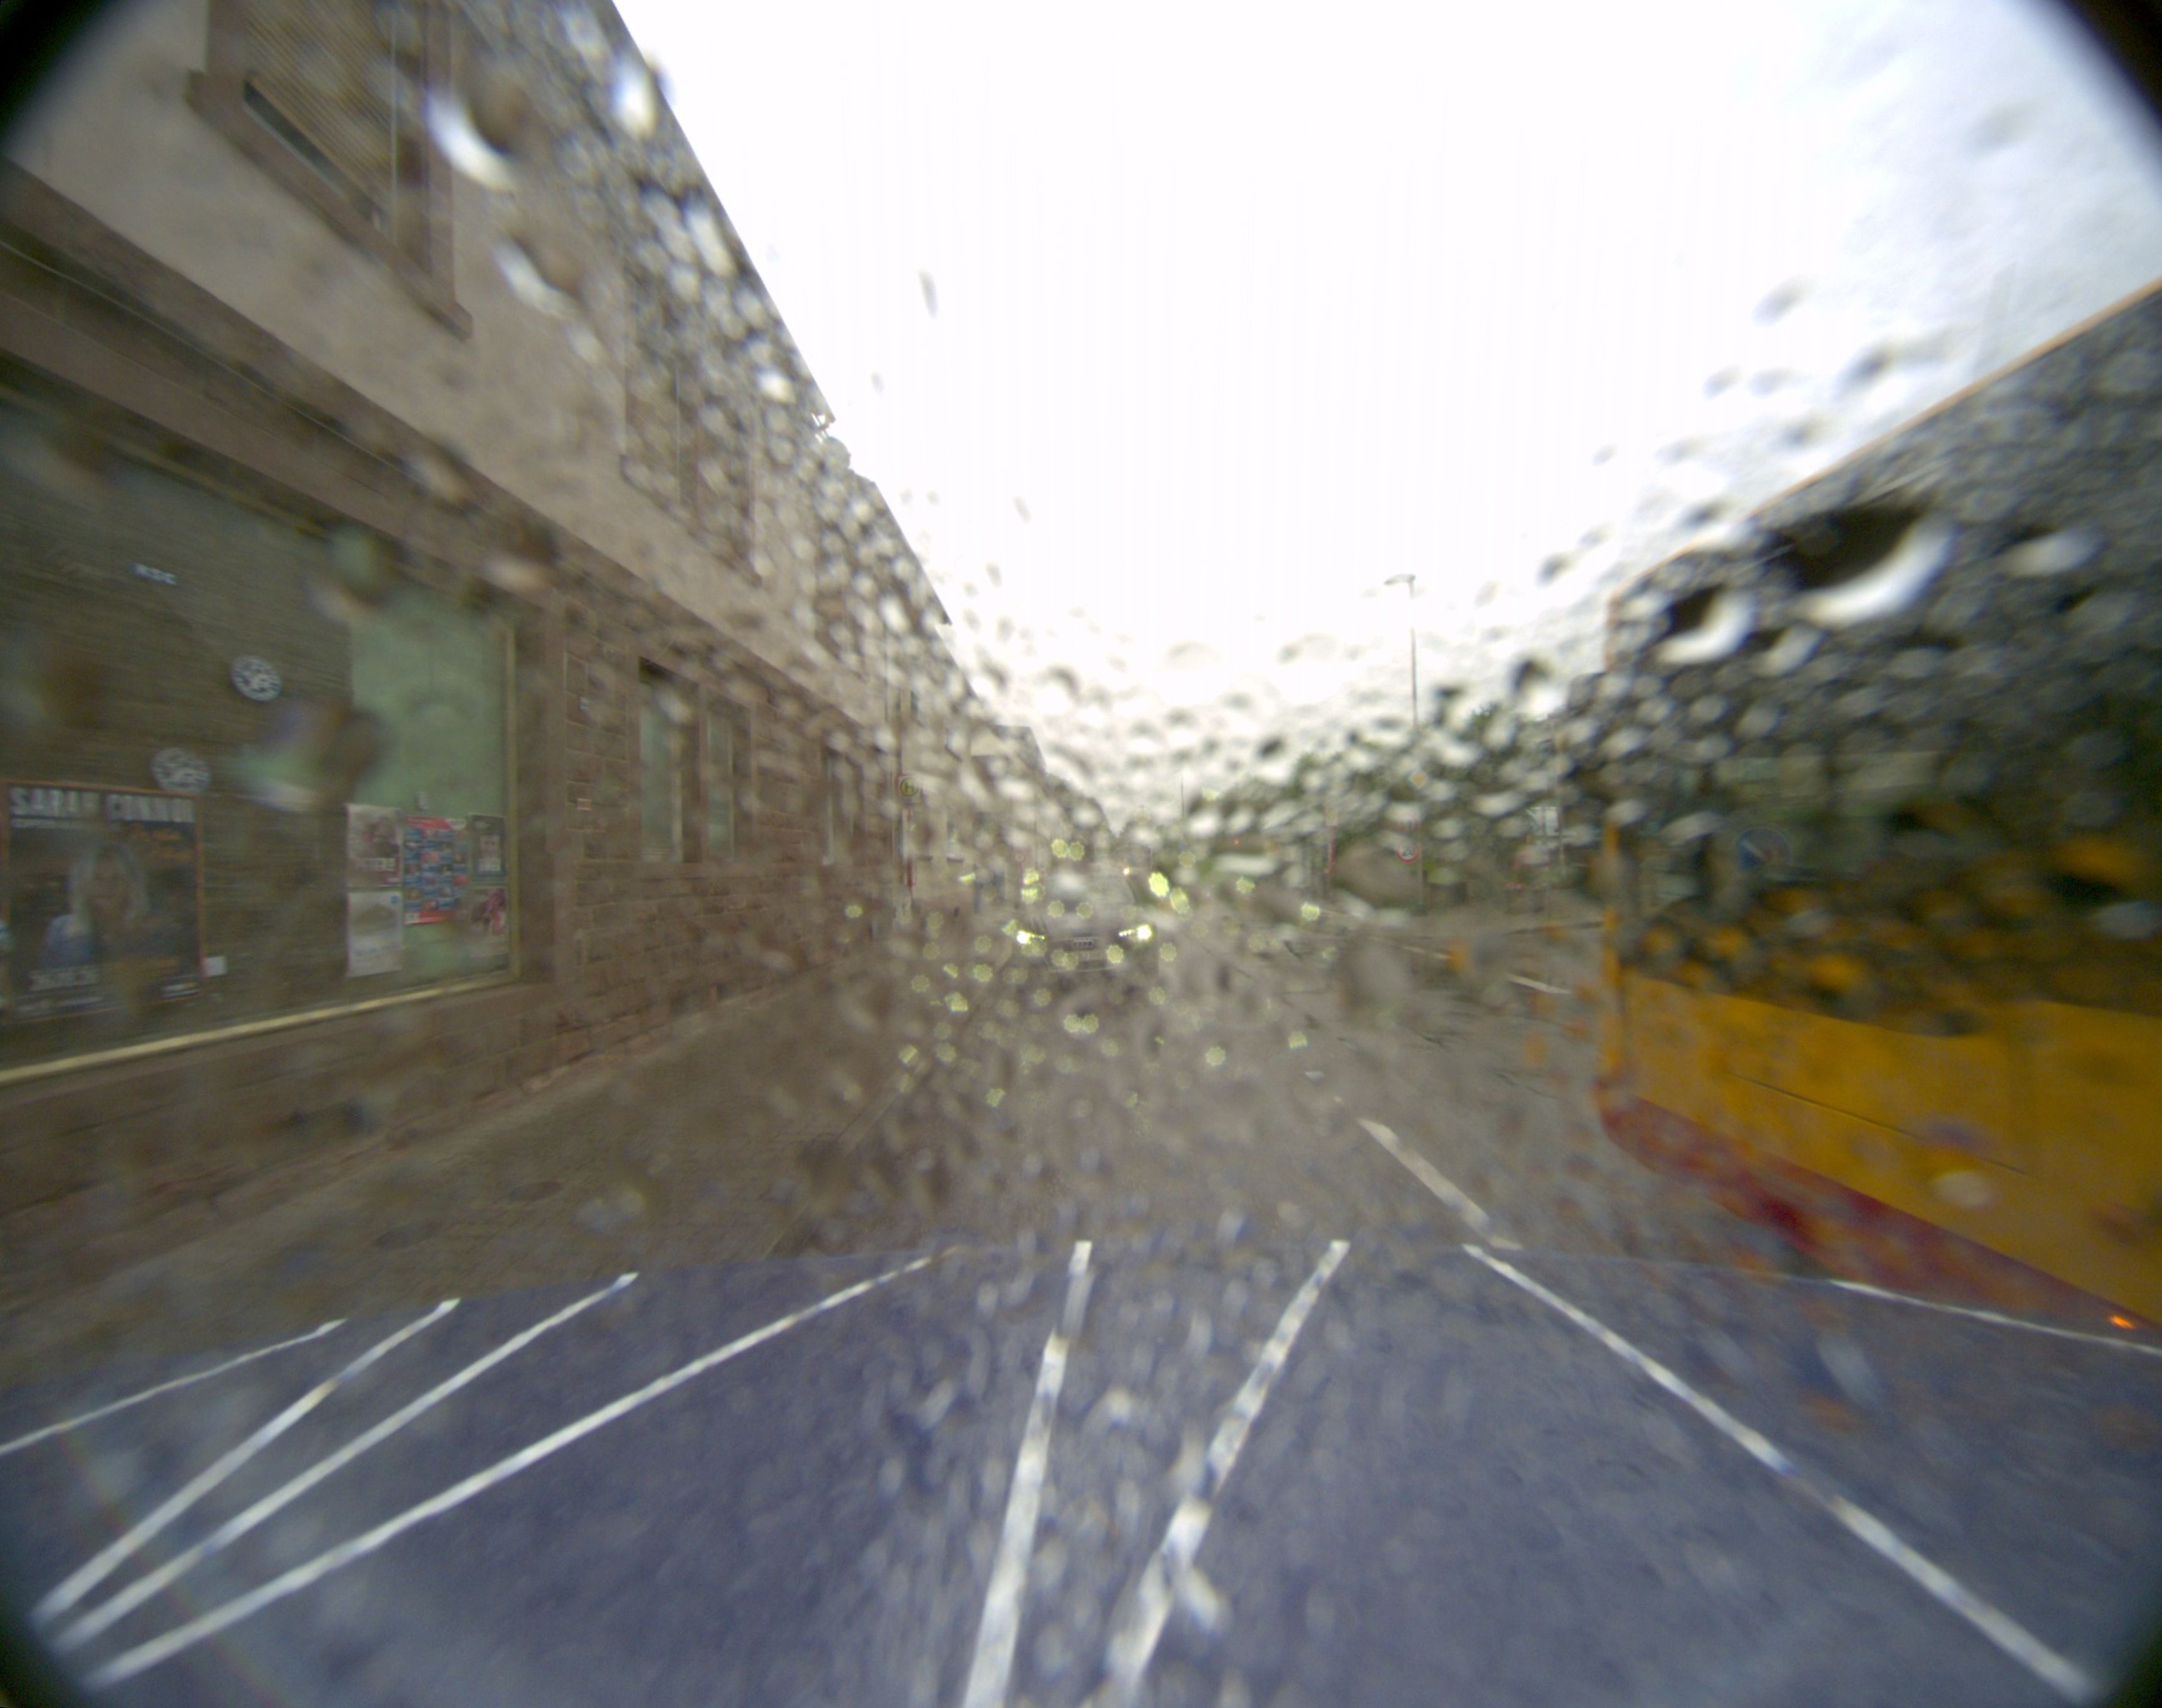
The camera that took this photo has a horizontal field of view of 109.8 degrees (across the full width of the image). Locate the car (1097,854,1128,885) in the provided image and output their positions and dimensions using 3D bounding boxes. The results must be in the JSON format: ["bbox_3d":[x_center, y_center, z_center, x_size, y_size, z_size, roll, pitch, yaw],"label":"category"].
[{"bbox_3d":[1.927,0.955,47.760,1.780,1.787,4.188,-2,0,1],"label":"car"}]

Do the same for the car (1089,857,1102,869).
[{"bbox_3d":[2.170,1.338,113.984,1.780,1.601,4.188,-2,0,1],"label":"car"}]

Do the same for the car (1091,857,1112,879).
[{"bbox_3d":[1.793,1.249,68.311,1.780,1.787,4.188,-2,0,1],"label":"car"}]

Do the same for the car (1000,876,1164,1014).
[{"bbox_3d":[0.045,1.074,10.563,1.780,1.348,4.188,-2,0,1],"label":"car"}]

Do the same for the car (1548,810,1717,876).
[{"bbox_3d":[16.189,-0.298,22.614,1.998,1.705,4.188,-2,0,1],"label":"car"}]

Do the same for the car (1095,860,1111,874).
[{"bbox_3d":[2.704,1.612,94.450,1.780,1.601,4.188,-2,0,1],"label":"car"}]

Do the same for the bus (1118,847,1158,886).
[{"bbox_3d":[5.572,1.131,74.018,3.439,3.391,13.875,-1,0,4],"label":"bus"}]

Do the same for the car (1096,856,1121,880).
[{"bbox_3d":[2.120,1.064,59.805,1.780,1.787,4.188,-2,0,1],"label":"car"}]

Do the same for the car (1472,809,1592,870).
[{"bbox_3d":[16.659,-0.506,28.348,1.998,2.050,4.188,-2,0,1],"label":"car"}]

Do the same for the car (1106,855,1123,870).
[{"bbox_3d":[3.711,0.909,85.143,1.780,1.601,4.188,-2,0,1],"label":"car"}]
